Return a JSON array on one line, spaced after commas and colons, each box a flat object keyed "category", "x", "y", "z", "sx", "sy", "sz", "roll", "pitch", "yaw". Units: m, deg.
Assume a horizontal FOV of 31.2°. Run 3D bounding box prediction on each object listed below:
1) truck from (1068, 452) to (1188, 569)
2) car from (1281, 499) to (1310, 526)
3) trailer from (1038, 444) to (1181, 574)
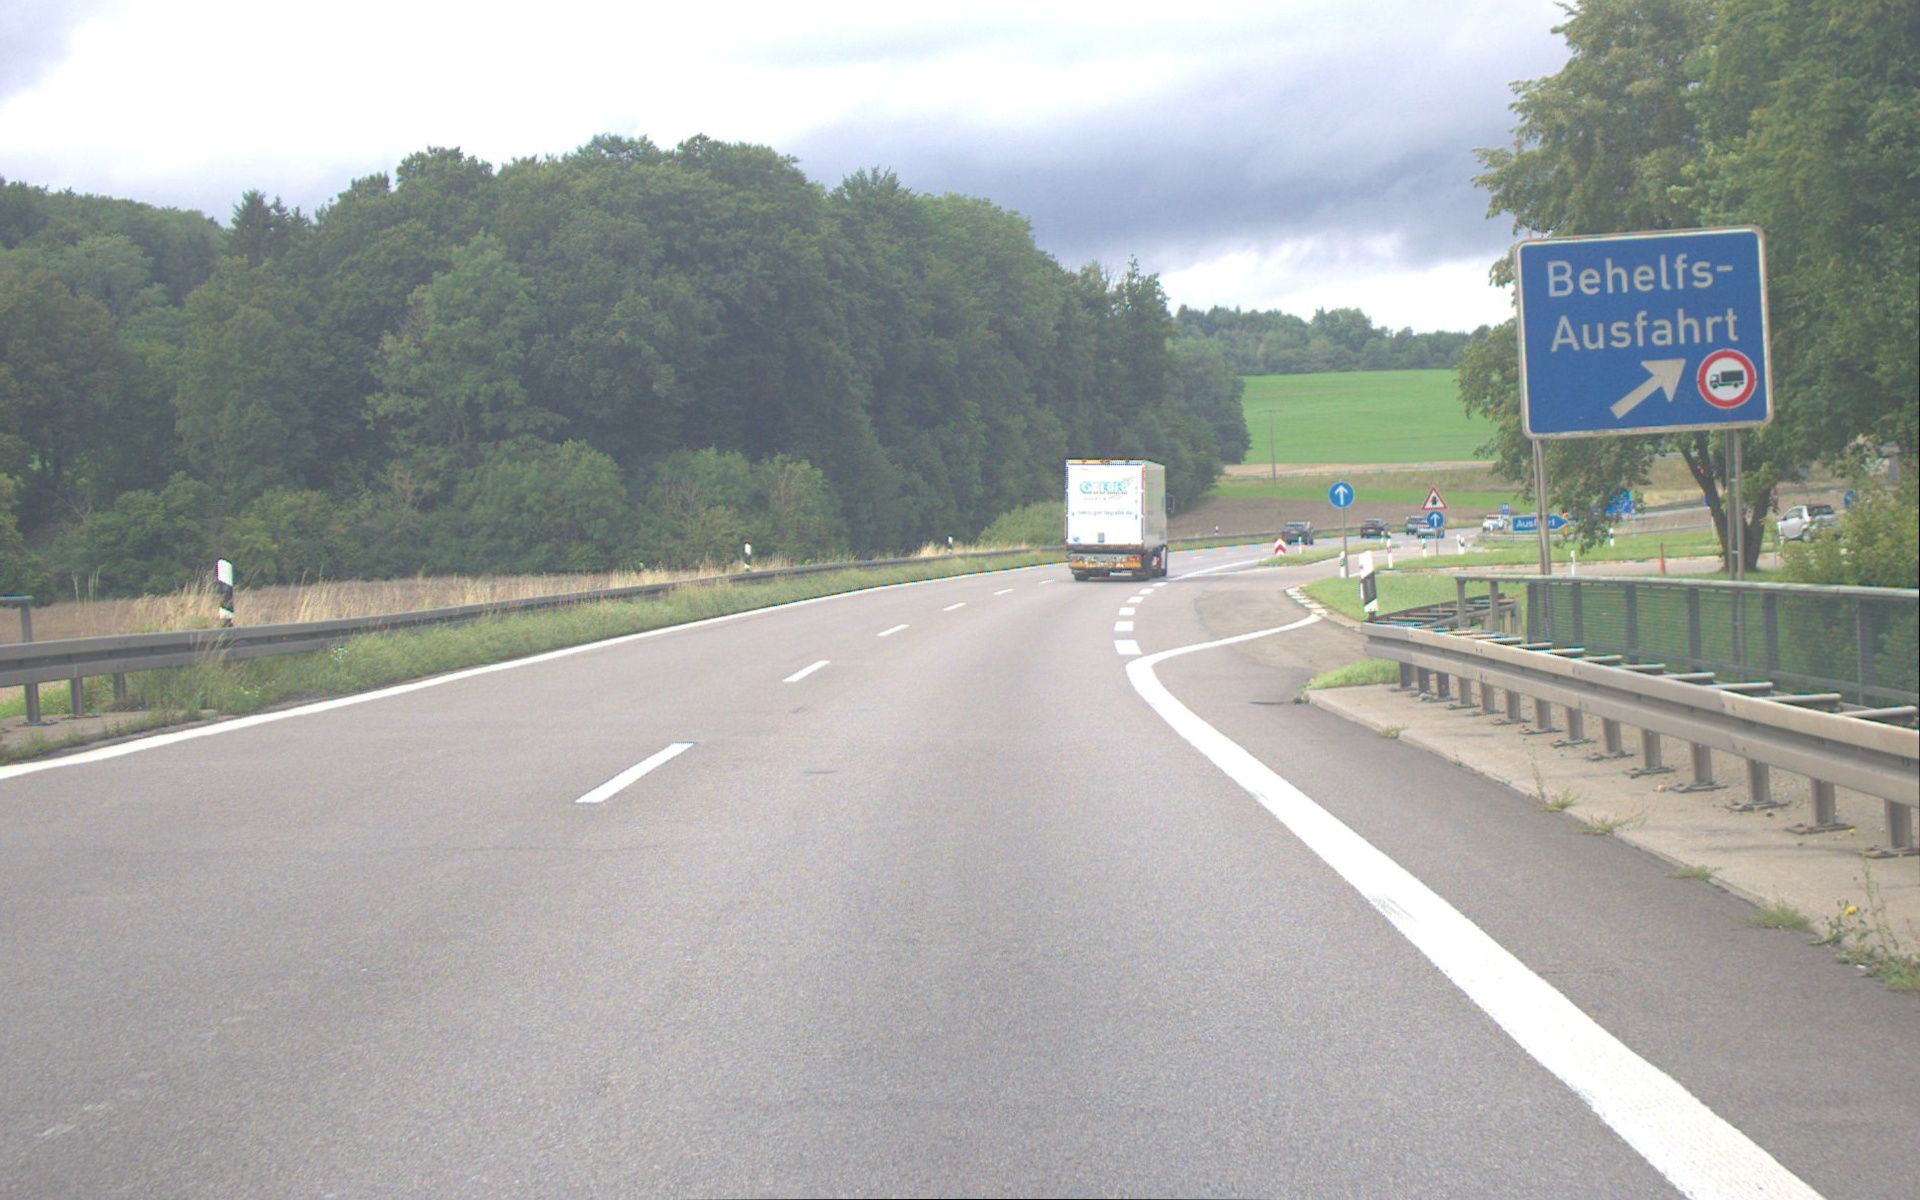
[{"category": "truck", "x": 6.164, "y": -3.274, "z": 125.076, "sx": 3.788, "sy": 4.117, "sz": 8.263, "roll": 0, "pitch": 2, "yaw": 7}, {"category": "car", "x": 23.799, "y": -6.191, "z": 243.533, "sx": 1.903, "sy": 1.789, "sz": 3.999, "roll": 0, "pitch": 0, "yaw": 7}, {"category": "trailer", "x": 5.272, "y": -3.093, "z": 117.734, "sx": 3.806, "sy": 4.160, "sz": 14.805, "roll": 0, "pitch": 1, "yaw": 7}]
